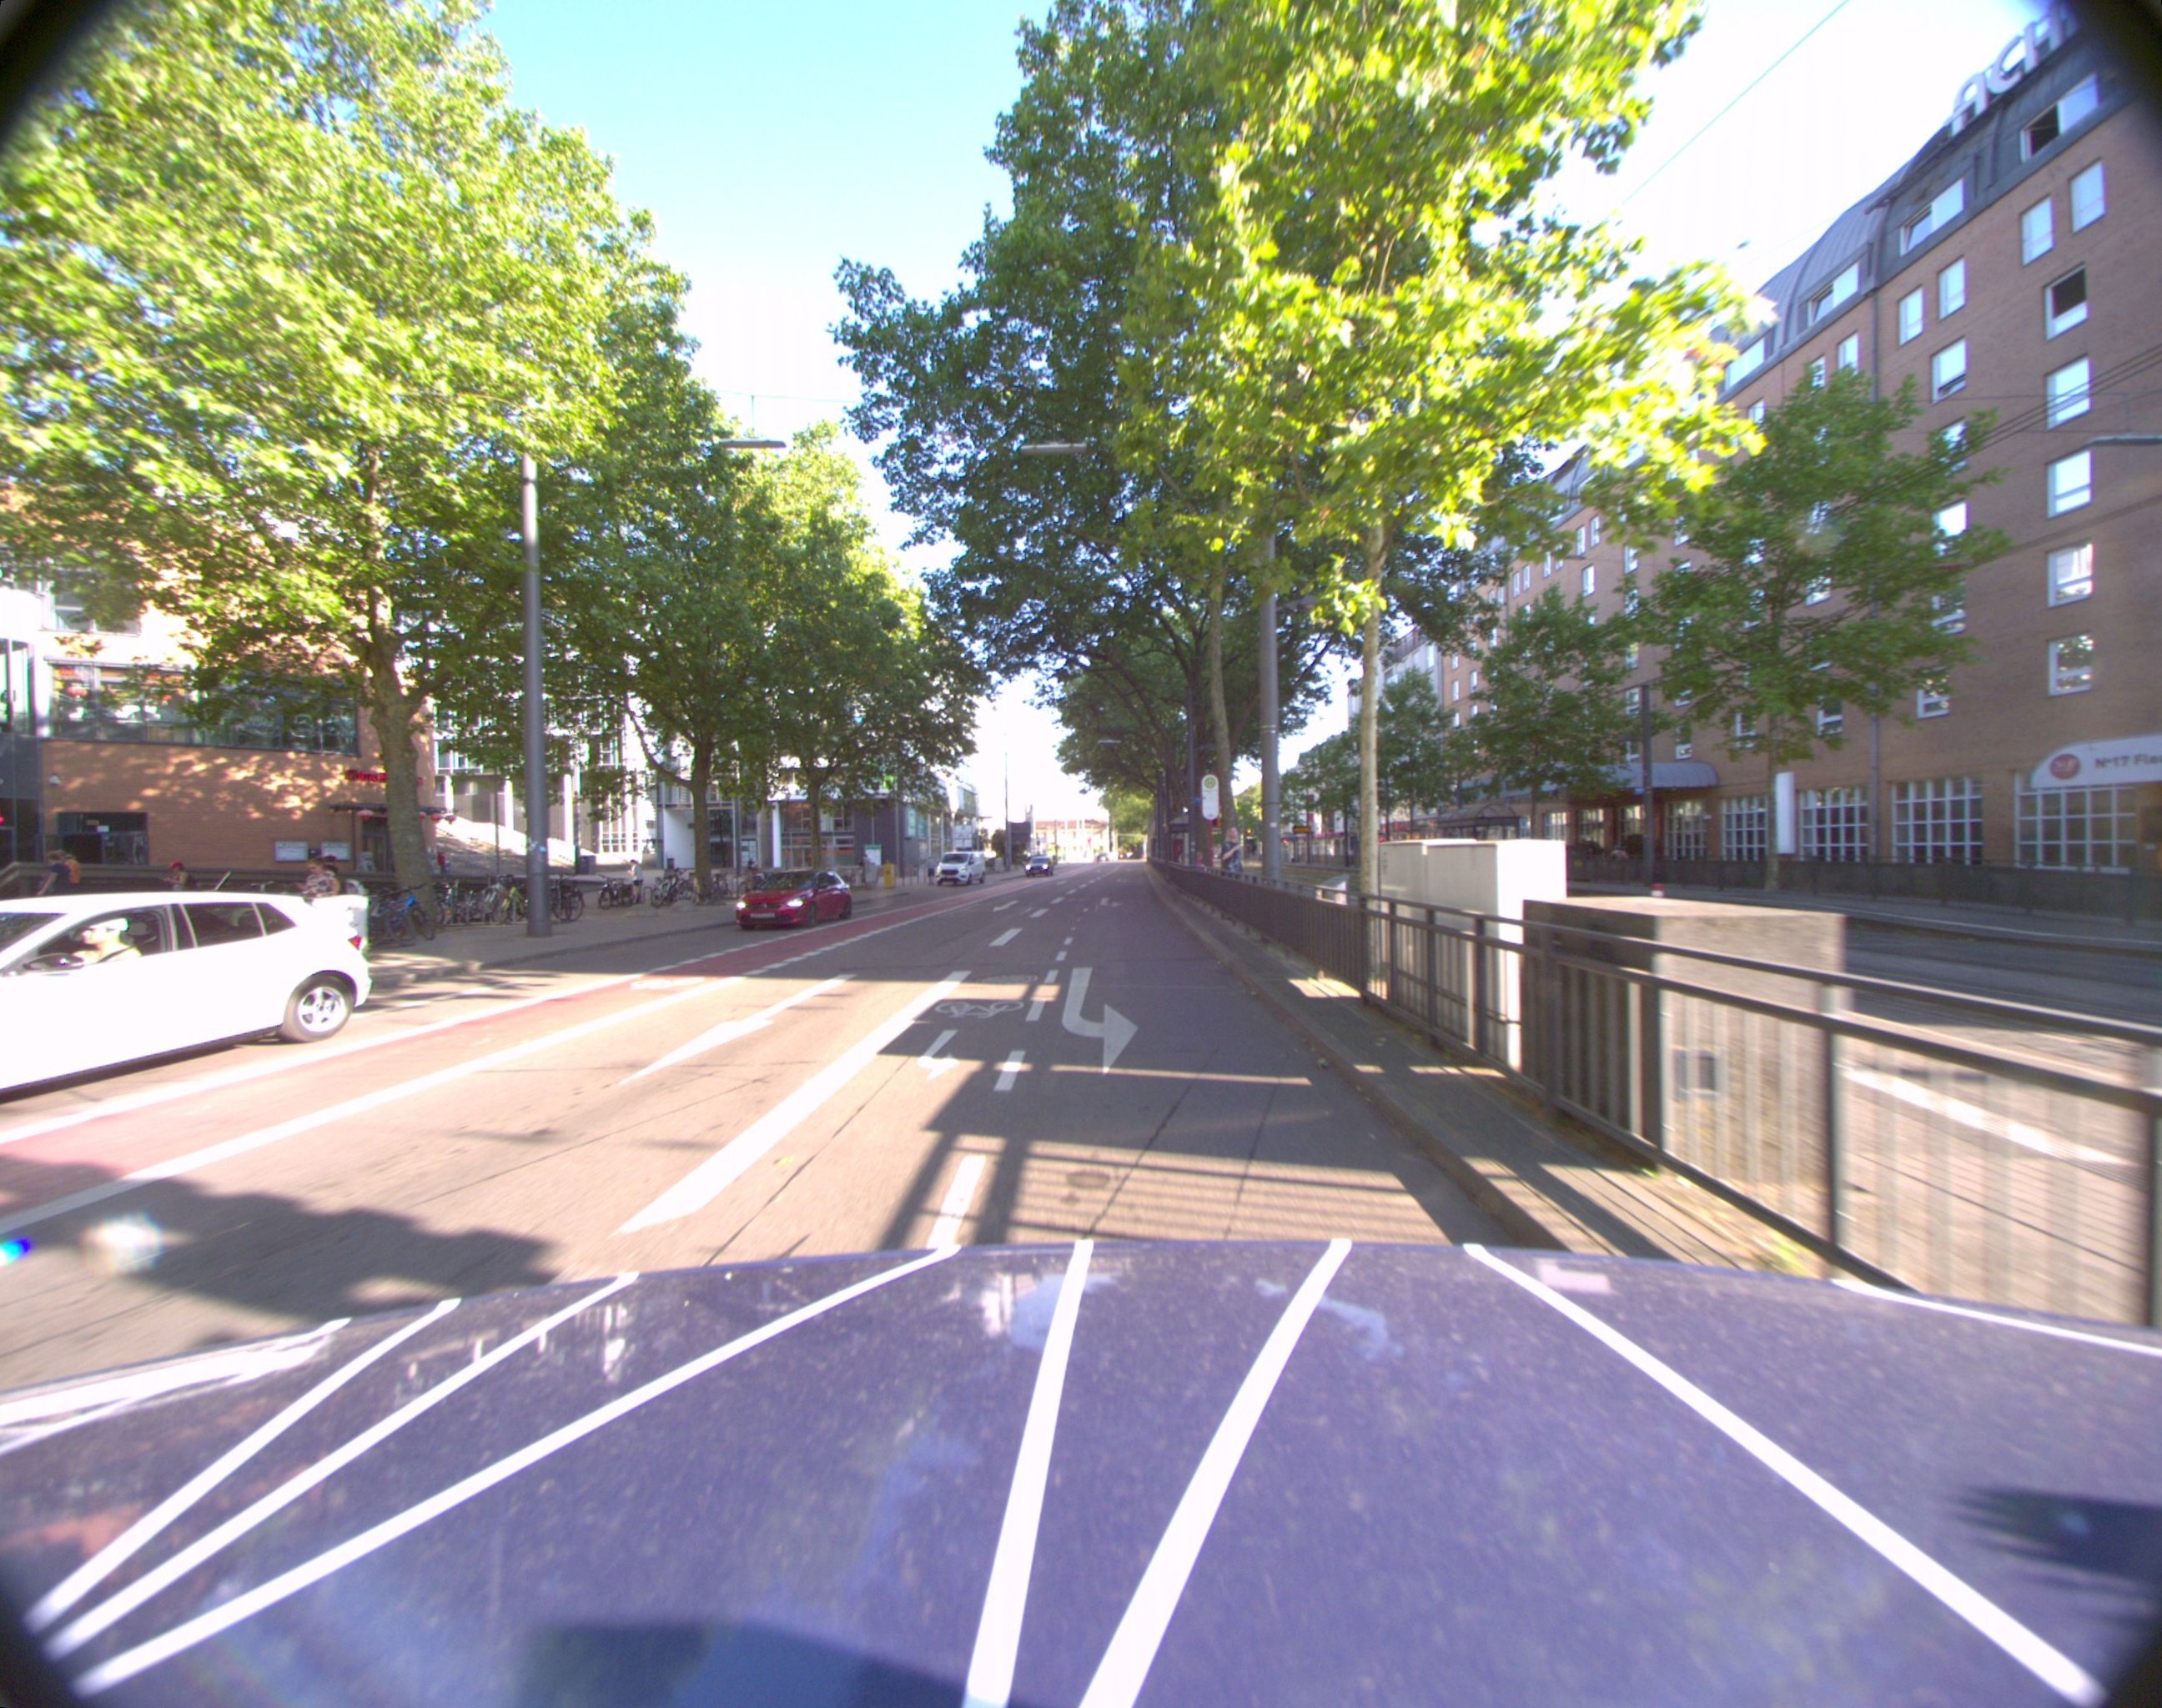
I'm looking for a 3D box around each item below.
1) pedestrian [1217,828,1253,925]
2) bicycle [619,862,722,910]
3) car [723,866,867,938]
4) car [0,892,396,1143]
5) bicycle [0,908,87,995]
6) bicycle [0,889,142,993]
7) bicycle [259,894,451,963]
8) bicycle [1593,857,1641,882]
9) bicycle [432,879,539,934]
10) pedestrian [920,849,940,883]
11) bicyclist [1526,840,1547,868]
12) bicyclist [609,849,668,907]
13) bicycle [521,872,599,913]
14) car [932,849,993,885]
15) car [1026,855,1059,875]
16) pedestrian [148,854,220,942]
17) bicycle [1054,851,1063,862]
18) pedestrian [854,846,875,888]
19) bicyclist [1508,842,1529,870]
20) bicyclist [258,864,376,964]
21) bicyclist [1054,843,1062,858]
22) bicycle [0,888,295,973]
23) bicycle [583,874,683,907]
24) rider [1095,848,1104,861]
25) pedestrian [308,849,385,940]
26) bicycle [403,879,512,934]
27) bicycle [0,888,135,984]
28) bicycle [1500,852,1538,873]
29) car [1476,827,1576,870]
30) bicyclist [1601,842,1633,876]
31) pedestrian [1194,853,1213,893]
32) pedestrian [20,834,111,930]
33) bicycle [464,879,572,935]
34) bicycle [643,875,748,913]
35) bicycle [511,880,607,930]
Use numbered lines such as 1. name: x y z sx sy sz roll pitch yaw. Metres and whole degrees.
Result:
1. pedestrian: 2.993 0.430 14.832 0.543 1.823 0.524 -3 1 3
2. bicycle: -13.973 1.047 26.017 0.892 1.476 3.228 -1 0 22
3. car: -7.175 1.131 19.553 1.835 1.481 4.196 -3 0 3
4. car: -8.036 1.179 5.794 1.836 1.481 4.194 -2 0 -1
5. bicycle: -15.972 1.379 9.901 0.728 1.213 3.820 -2 -3 7
6. bicycle: -14.038 1.166 9.667 0.757 1.213 2.553 -2 2 7
7. bicycle: -13.258 1.326 14.043 0.925 0.943 2.637 -3 1 1
8. bicycle: 23.870 0.665 33.883 0.654 1.044 2.012 -2 1 -4
9. bicycle: -14.722 1.258 18.883 0.671 1.155 2.305 -2 1 4
10. pedestrian: -9.020 0.702 45.349 0.814 2.002 0.979 -2 0 11
11. bicyclist: 25.261 -0.001 42.122 0.662 1.565 0.758 -1 1 -6
12. bicyclist: -15.749 0.836 27.077 1.296 2.002 1.158 -1 2 18
13. bicycle: -17.622 1.284 25.796 0.699 1.193 2.700 -2 1 1
14. car: -7.083 0.731 46.169 1.932 1.953 5.921 -2 0 8
15. car: -3.180 0.899 64.076 1.784 1.481 4.198 -3 0 10
16. pedestrian: -23.555 1.140 19.960 0.842 2.220 0.905 -2 1 23
17. bicycle: -3.003 0.323 99.067 0.951 1.460 2.704 -1 0 -6
18. pedestrian: -13.911 0.830 48.873 0.981 2.633 0.900 -3 2 -31
19. bicyclist: 24.507 0.097 42.551 0.684 1.550 0.758 -1 -1 -6
20. bicyclist: -13.294 1.014 13.263 0.903 1.611 1.023 -3 1 1
21. bicyclist: -3.020 -0.450 99.046 0.959 2.002 0.937 -3 1 -7
22. bicycle: -15.663 1.199 12.886 1.050 0.996 3.412 3 1 1
23. bicycle: -16.016 1.278 27.170 3.328 1.078 1.150 0 1 18
24. rider: 2.906 0.070 122.206 1.243 2.002 1.228 -2 1 7
25. pedestrian: -16.919 0.903 17.537 0.934 2.002 1.091 -1 1 -25
26. bicycle: -15.484 1.272 18.960 0.657 1.155 2.293 -2 1 4
27. bicycle: -15.205 1.207 9.832 0.757 1.213 3.817 -2 2 7
28. bicycle: 24.510 0.488 42.562 0.687 1.135 2.110 -1 -2 -6
29. car: 19.997 -0.228 34.362 1.873 1.752 3.998 -3 1 -5
30. bicyclist: 23.885 0.210 33.865 0.655 1.466 1.032 -2 1 -4
31. pedestrian: 4.118 0.633 25.468 0.542 1.310 0.524 -3 1 13
32. pedestrian: -24.935 0.655 18.689 1.048 2.235 1.221 -2 2 38
33. bicycle: -13.884 1.265 18.839 0.751 1.155 2.398 -2 1 3
34. bicycle: -12.874 1.326 25.565 0.975 1.020 3.208 -2 1 23
35. bicycle: -12.942 1.228 18.946 0.682 1.054 2.337 -1 1 3
